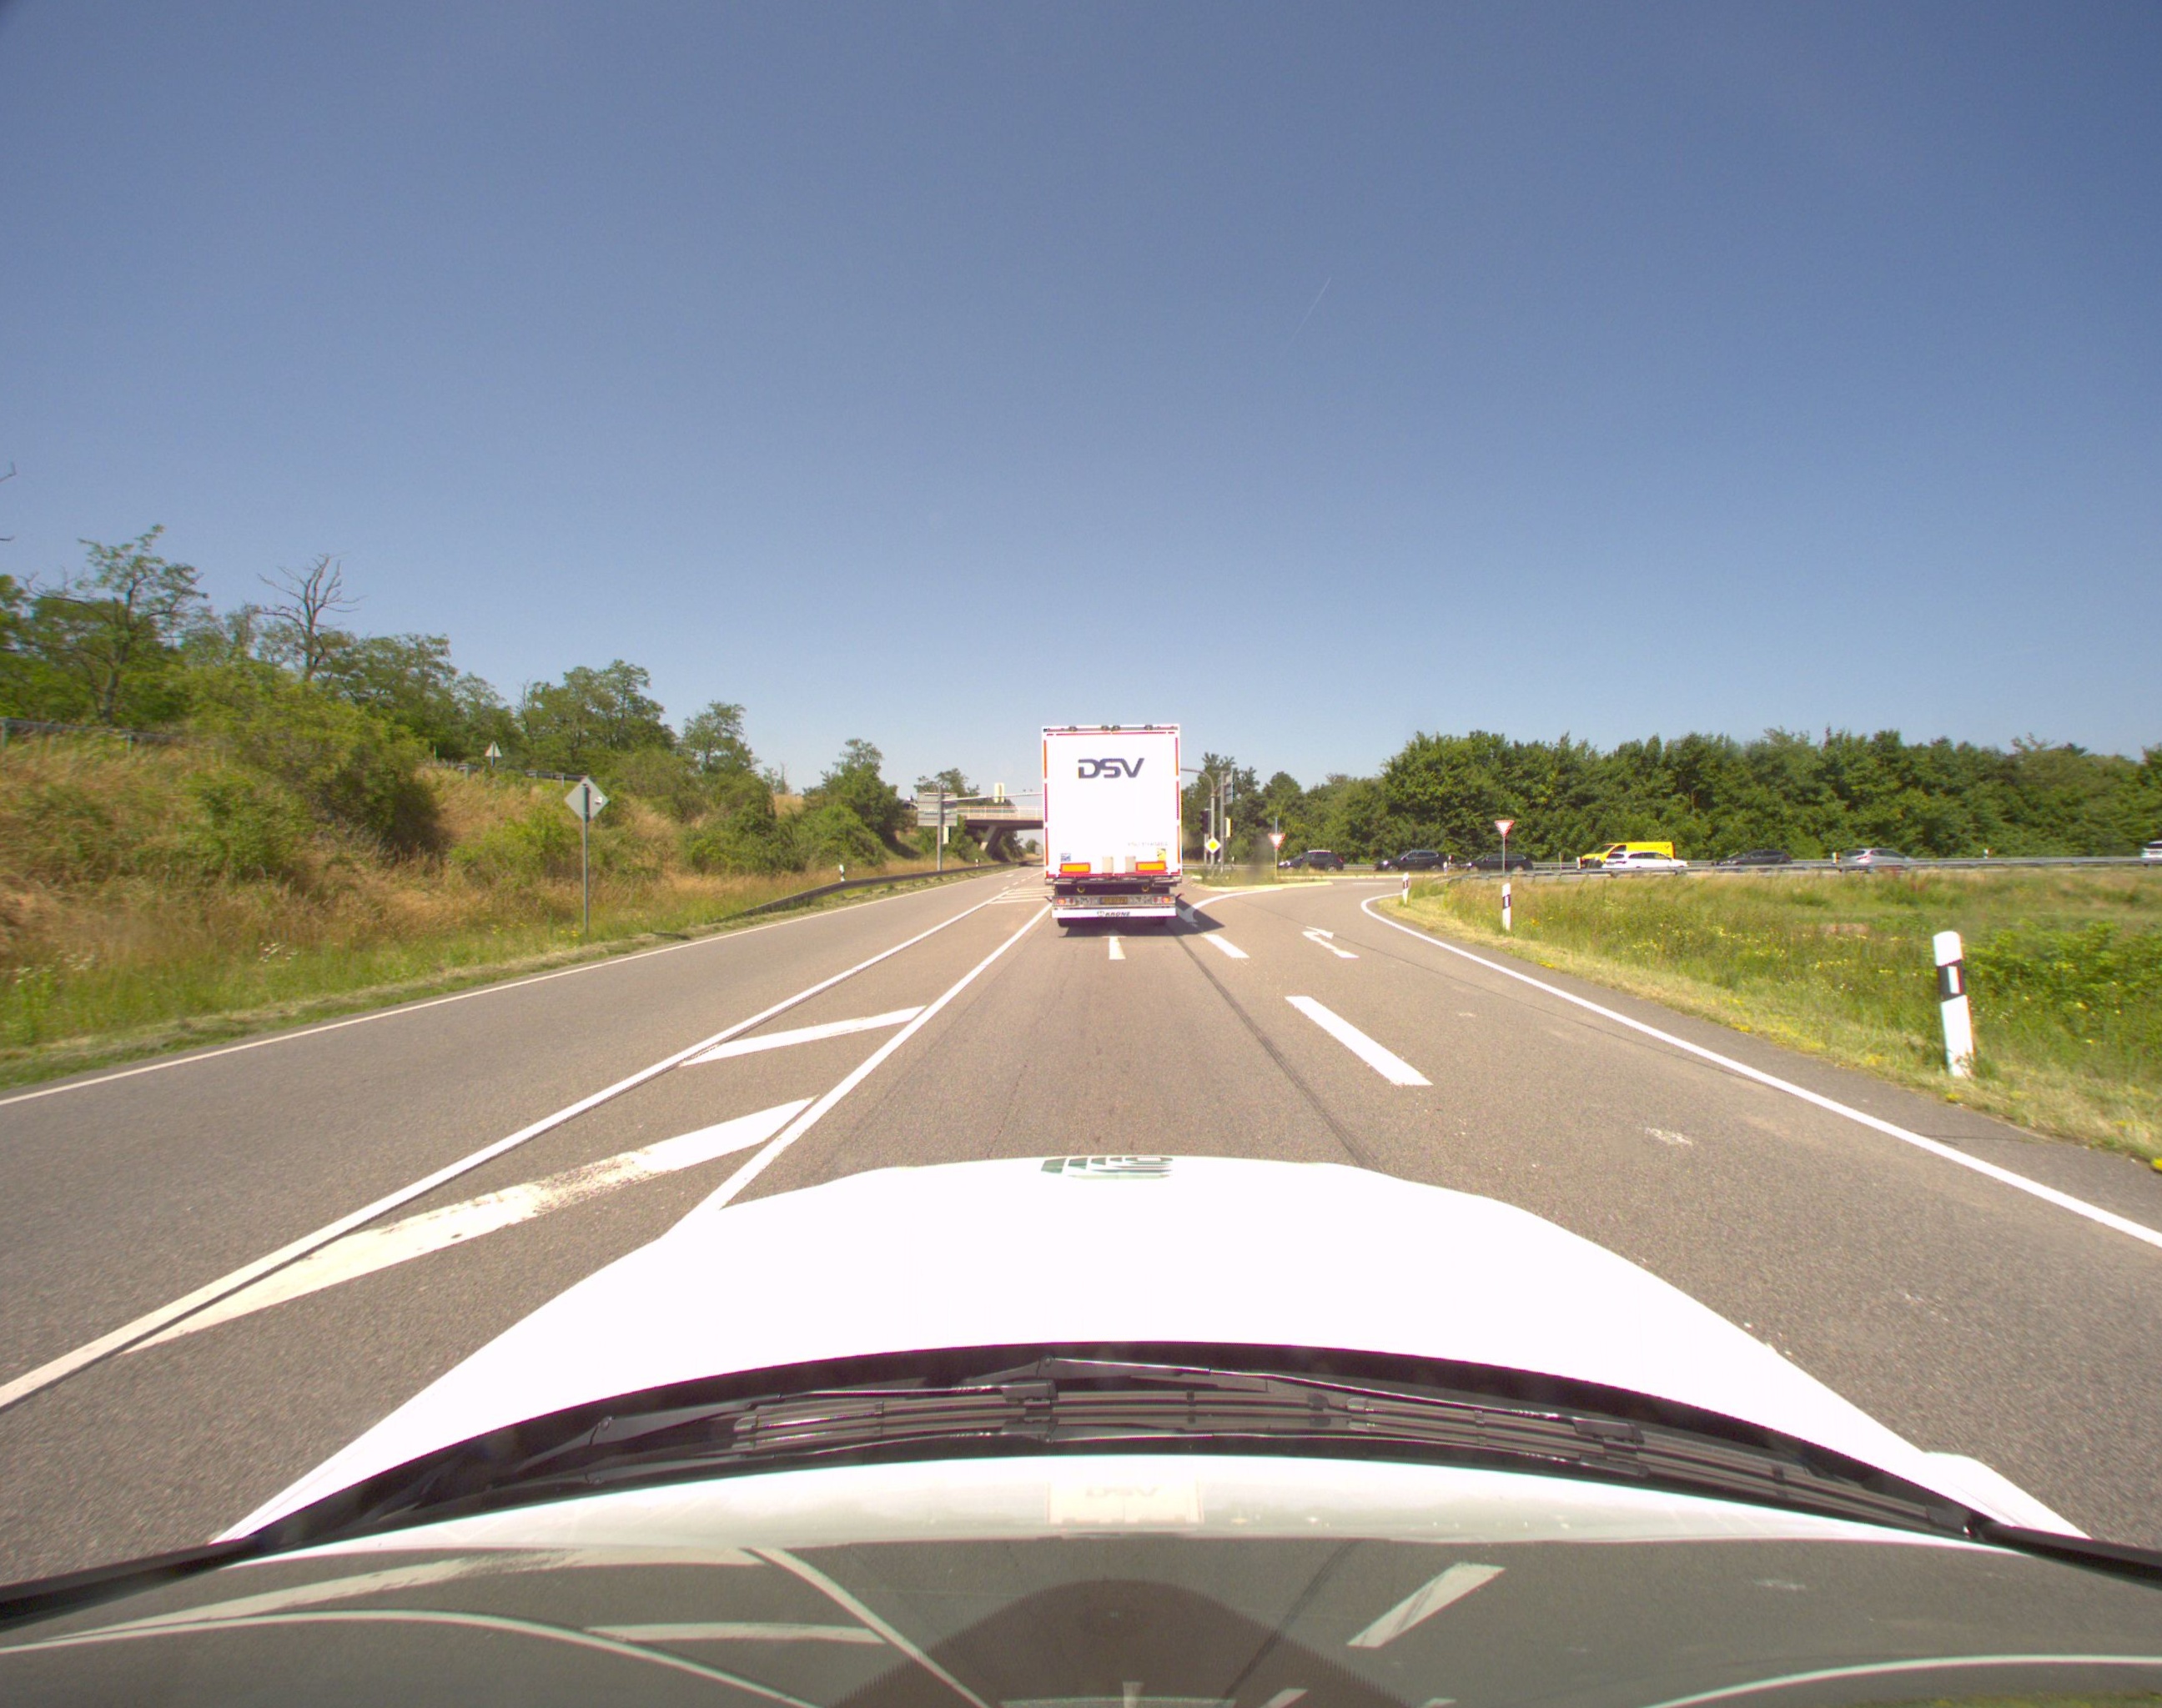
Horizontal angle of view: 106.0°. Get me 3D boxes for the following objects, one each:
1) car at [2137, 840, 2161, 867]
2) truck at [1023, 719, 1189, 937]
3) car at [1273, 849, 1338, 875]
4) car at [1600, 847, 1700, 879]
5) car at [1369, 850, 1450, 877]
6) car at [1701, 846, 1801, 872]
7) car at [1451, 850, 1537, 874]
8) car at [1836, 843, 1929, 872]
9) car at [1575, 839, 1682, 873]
[{"bbox_3d":[64.636,-0.055,47.360,4.459,1.567,1.737,-1,-1,-4],"label":"car"},{"bbox_3d":[0.616,-0.439,19.816,2.976,3.942,9.879,-1,0,2],"label":"truck"},{"bbox_3d":[14.888,0.558,54.225,3.963,1.640,1.845,-1,-1,7],"label":"car"},{"bbox_3d":[31.192,0.483,44.715,4.464,1.567,1.735,-2,-1,-7],"label":"car"},{"bbox_3d":[20.924,0.605,51.988,4.465,1.598,1.770,-1,-1,4],"label":"car"},{"bbox_3d":[41.868,0.326,50.969,4.661,1.514,1.855,-1,-1,4],"label":"car"},{"bbox_3d":[26.896,0.522,53.189,4.654,1.514,1.858,-1,-1,9],"label":"car"},{"bbox_3d":[45.913,0.215,46.690,3.672,1.567,1.738,-1,-1,-2],"label":"car"},{"bbox_3d":[34.324,0.129,51.148,5.300,2.014,2.002,-1,-1,3],"label":"car"}]
